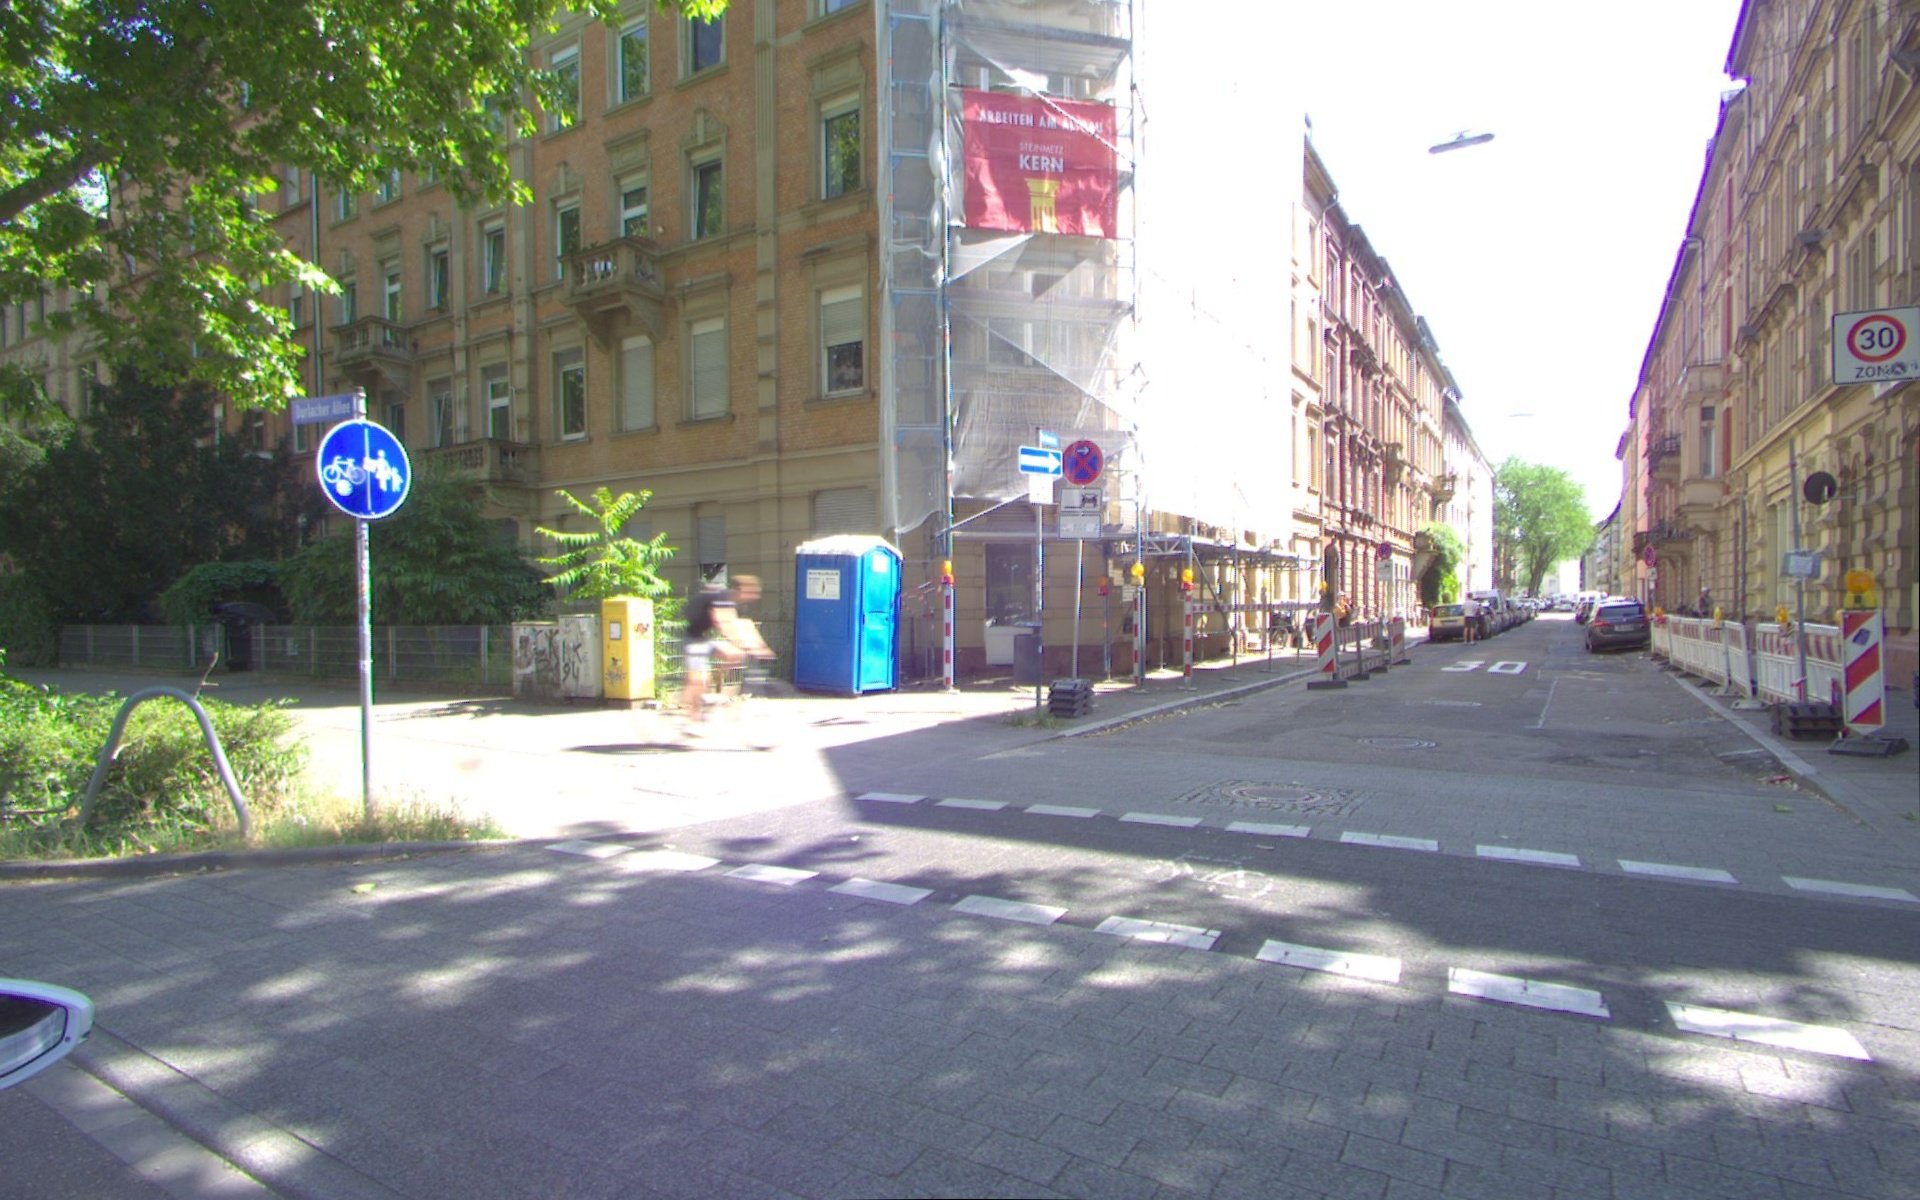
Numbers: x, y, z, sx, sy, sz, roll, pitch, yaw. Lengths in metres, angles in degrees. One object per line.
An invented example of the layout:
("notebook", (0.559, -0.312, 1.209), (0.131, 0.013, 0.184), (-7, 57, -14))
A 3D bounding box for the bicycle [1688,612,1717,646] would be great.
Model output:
("bicycle", (22.789, 0.874, 30.744), (0.530, 0.991, 1.304), (0, 0, 28))

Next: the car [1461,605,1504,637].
("car", (25.825, 1.011, 49.442), (1.702, 1.549, 3.478), (0, 0, 30))

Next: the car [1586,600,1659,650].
("car", (23.099, 0.825, 35.051), (1.971, 1.661, 3.979), (0, 0, 31))

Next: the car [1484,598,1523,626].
("car", (34.466, 0.759, 63.446), (1.886, 1.732, 4.139), (0, 0, 33))

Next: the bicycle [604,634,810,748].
("bicycle", (-2.483, 0.890, 9.917), (1.888, 1.063, 0.532), (-1, 1, 4))

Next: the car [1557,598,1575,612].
("car", (77.299, 0.687, 127.663), (1.971, 1.762, 3.980), (0, 0, 31))

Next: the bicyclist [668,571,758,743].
("bicyclist", (-2.430, 0.549, 9.904), (0.681, 1.645, 0.624), (-1, 1, 3))

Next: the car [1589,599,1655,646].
("car", (25.767, 0.836, 39.088), (1.971, 1.762, 3.979), (0, 0, 31))

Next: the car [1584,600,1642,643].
("car", (28.545, 0.906, 43.881), (1.971, 1.762, 3.979), (0, 0, 31))

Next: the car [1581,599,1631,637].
("car", (31.820, 0.853, 49.429), (1.971, 1.762, 3.979), (0, 0, 31))

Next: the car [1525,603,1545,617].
("car", (58.340, 0.977, 101.617), (1.646, 1.420, 3.343), (0, 0, 32))

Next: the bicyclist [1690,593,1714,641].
("bicyclist", (22.786, 0.520, 30.743), (0.525, 1.472, 0.459), (0, 1, 29))

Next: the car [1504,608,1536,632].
("car", (42.397, 1.467, 75.741), (1.886, 1.732, 4.139), (0, 0, 33))

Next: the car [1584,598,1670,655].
("car", (19.769, 0.750, 29.829), (1.971, 1.572, 3.979), (0, 0, 31))

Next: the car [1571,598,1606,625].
("car", (43.081, 0.789, 68.680), (1.971, 1.762, 3.979), (0, 0, 31))

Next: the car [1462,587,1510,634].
("car", (28.305, 0.552, 53.821), (1.886, 2.405, 4.224), (0, 0, 33))

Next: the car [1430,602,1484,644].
("car", (19.693, 0.874, 39.618), (1.702, 1.549, 3.478), (0, 0, 30))

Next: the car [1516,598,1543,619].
("car", (48.138, 0.737, 84.595), (1.886, 1.732, 4.140), (0, 0, 32))

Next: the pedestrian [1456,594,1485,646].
("pedestrian", (18.245, 0.703, 35.774), (0.922, 1.822, 1.034), (0, 1, 29))

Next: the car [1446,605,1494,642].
("car", (22.650, 1.015, 44.388), (1.702, 1.549, 3.478), (0, 0, 30))

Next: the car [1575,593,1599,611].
("car", (63.558, 0.205, 101.531), (1.971, 1.762, 3.980), (0, 0, 31))

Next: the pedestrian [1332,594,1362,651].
("pedestrian", (11.997, 0.698, 31.060), (0.843, 1.748, 0.834), (0, 0, 19))
